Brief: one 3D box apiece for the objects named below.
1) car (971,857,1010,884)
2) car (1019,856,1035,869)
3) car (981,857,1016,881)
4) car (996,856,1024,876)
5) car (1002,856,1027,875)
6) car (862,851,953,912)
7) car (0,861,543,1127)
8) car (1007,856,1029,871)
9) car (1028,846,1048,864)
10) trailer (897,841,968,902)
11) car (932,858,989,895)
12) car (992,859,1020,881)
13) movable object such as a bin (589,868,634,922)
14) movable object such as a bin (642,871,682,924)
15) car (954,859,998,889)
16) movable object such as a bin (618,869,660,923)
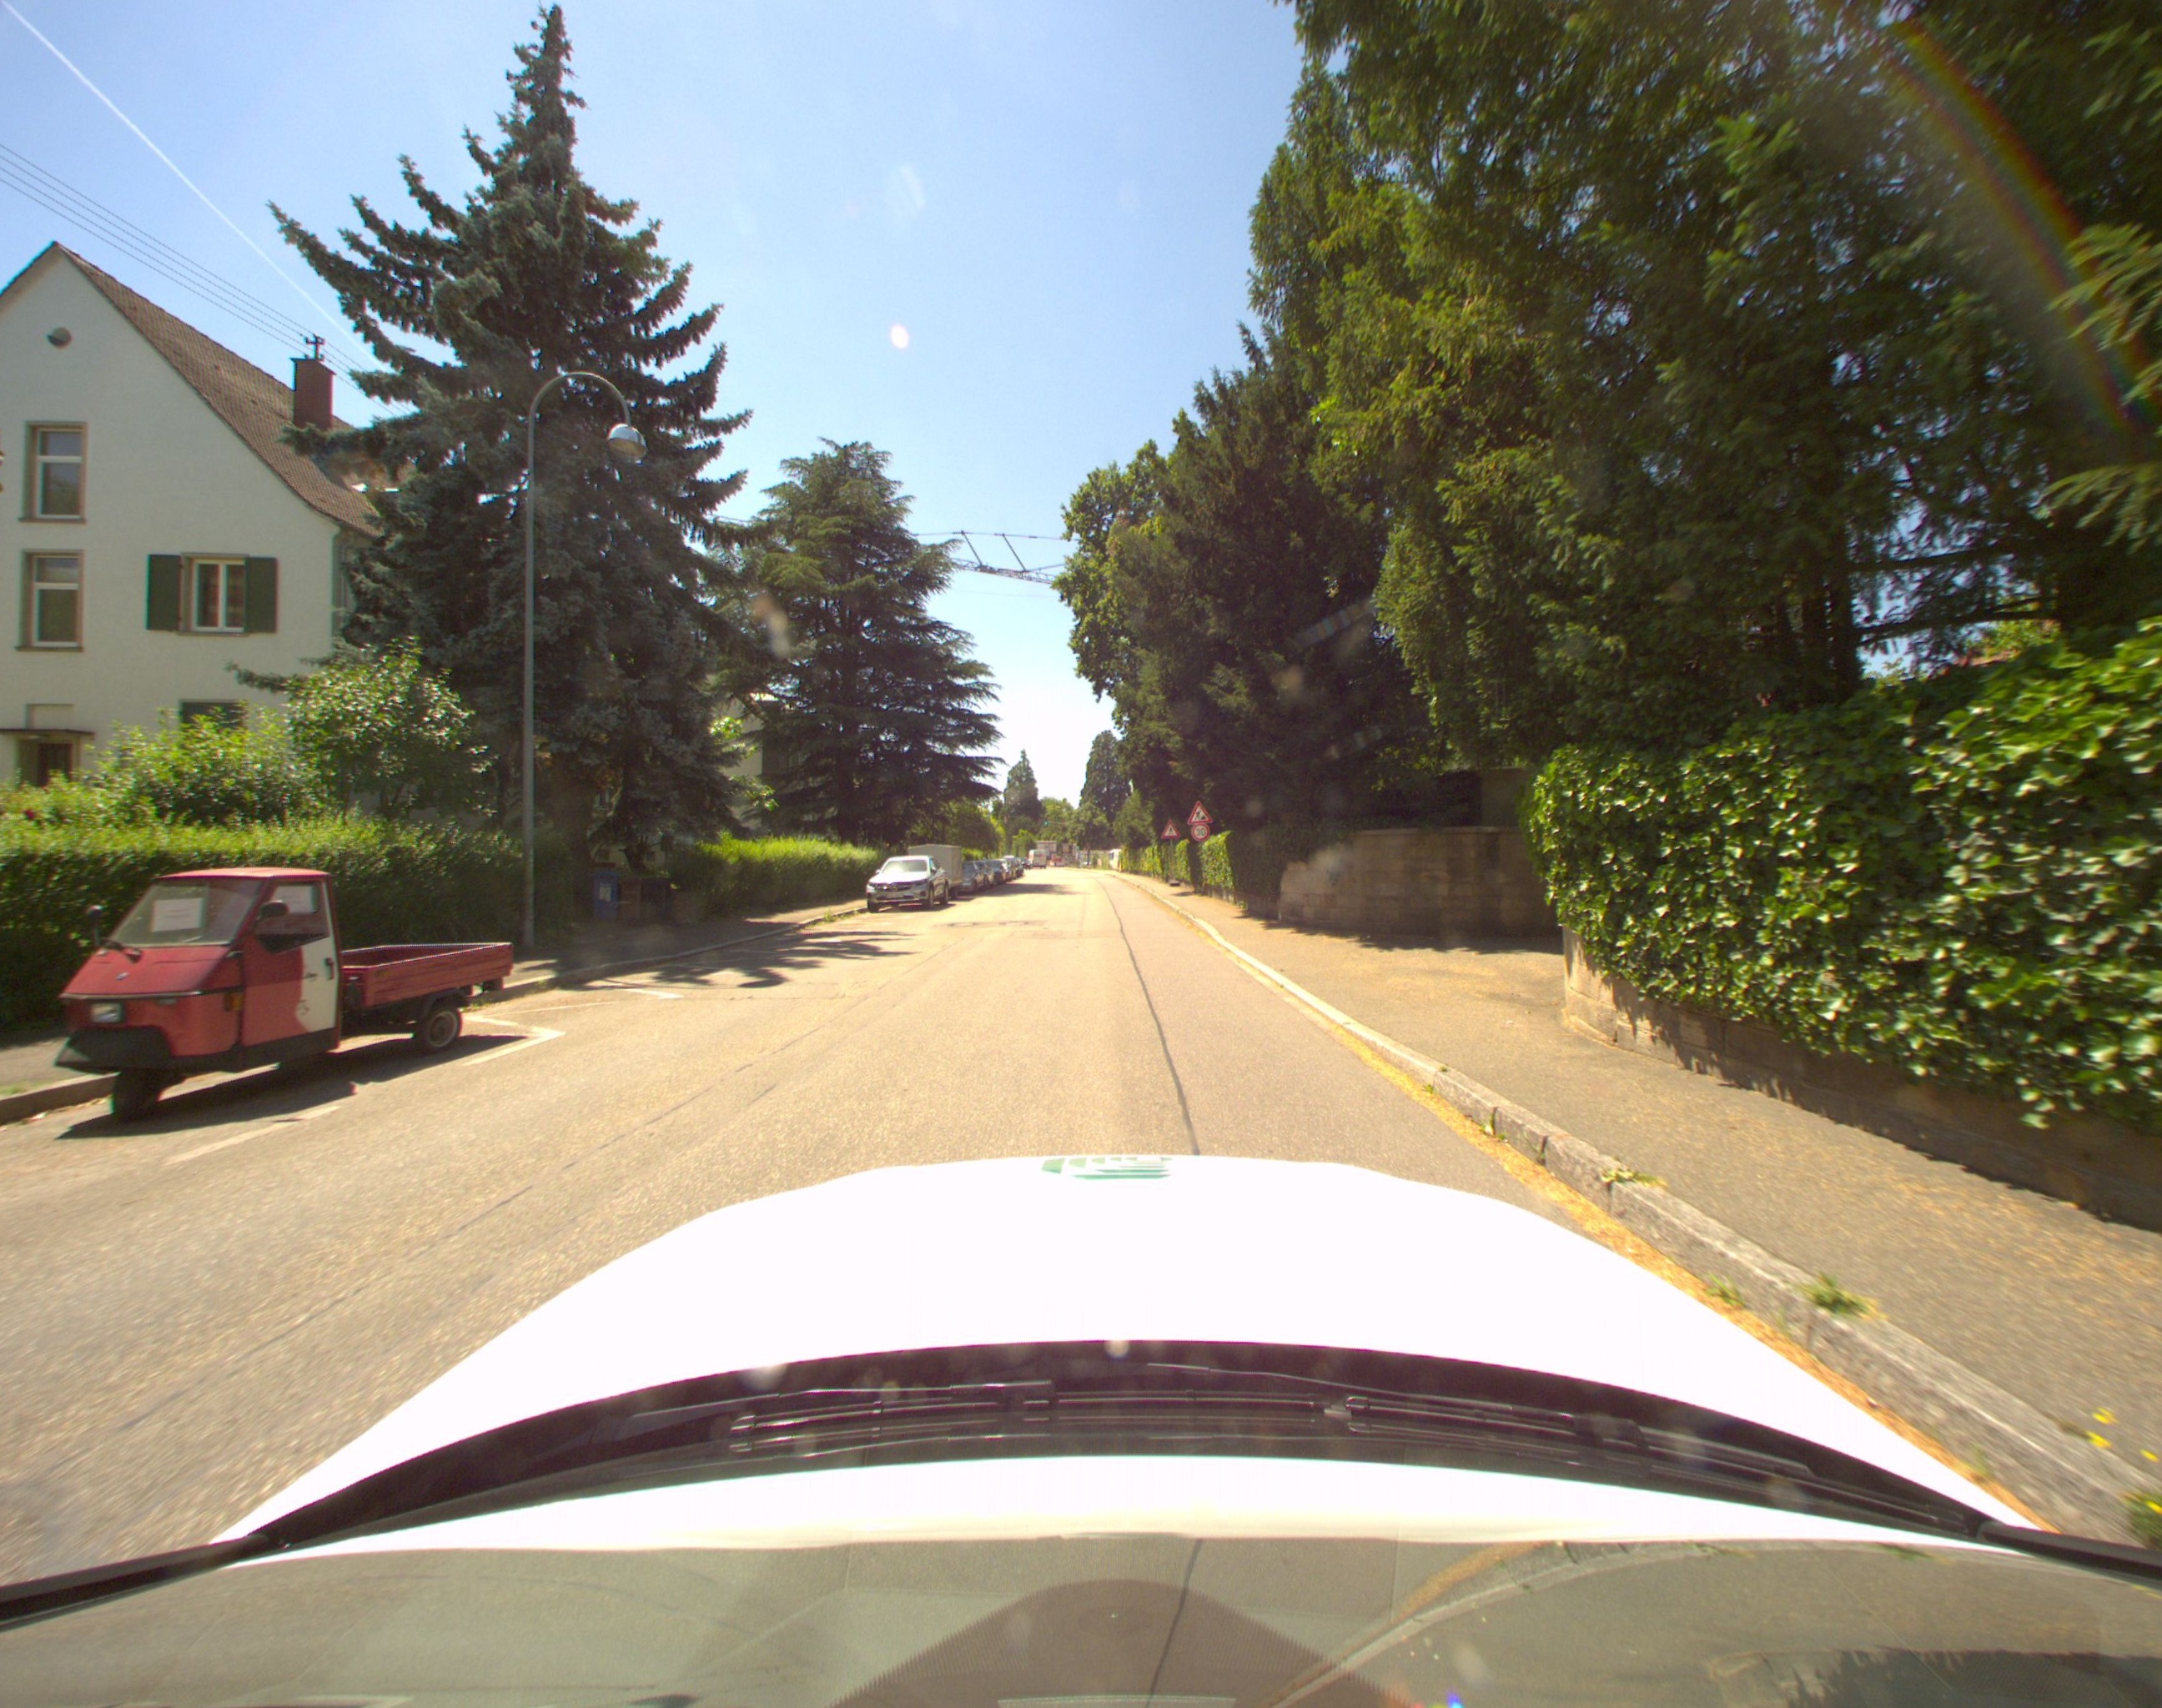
[{"bbox_3d":[-5.205,0.925,47.105,1.682,1.444,4.136,-2,0,1],"label":"car"},{"bbox_3d":[-6.701,1.060,101.808,1.848,1.584,4.132,-2,0,-2],"label":"car"},{"bbox_3d":[-5.256,0.948,52.338,1.682,1.444,4.136,-2,0,1],"label":"car"},{"bbox_3d":[-5.404,0.932,62.769,1.682,1.444,4.136,-2,0,1],"label":"car"},{"bbox_3d":[-5.533,0.948,68.160,1.682,1.444,4.136,-2,0,1],"label":"car"},{"bbox_3d":[-5.346,0.786,25.689,1.845,1.671,4.710,-3,0,-1],"label":"car"},{"bbox_3d":[-5.894,0.860,6.311,1.406,1.503,2.842,-3,0,2],"label":"car"},{"bbox_3d":[-6.290,0.919,81.522,1.682,1.444,4.136,-2,0,1],"label":"car"},{"bbox_3d":[-5.842,0.182,110.382,2.142,2.315,4.838,-2,0,-8],"label":"car"},{"bbox_3d":[-5.400,0.610,30.124,1.842,2.040,4.161,-3,0,-1],"label":"trailer"},{"bbox_3d":[-5.207,0.944,35.733,1.703,1.439,4.323,-3,0,1],"label":"car"},{"bbox_3d":[-5.322,1.124,58.002,1.684,1.449,3.998,-1,0,-1],"label":"car"},{"bbox_3d":[-9.946,0.864,17.279,0.537,1.082,0.645,3,0,-1],"label":"movable object such as a bin"},{"bbox_3d":[-8.904,0.920,17.332,0.484,1.065,0.616,3,0,-1],"label":"movable object such as a bin"},{"bbox_3d":[-5.200,0.957,40.829,1.577,1.390,3.884,-1,0,1],"label":"car"},{"bbox_3d":[-9.385,0.885,17.295,0.484,1.082,0.642,3,0,-1],"label":"movable object such as a bin"}]
